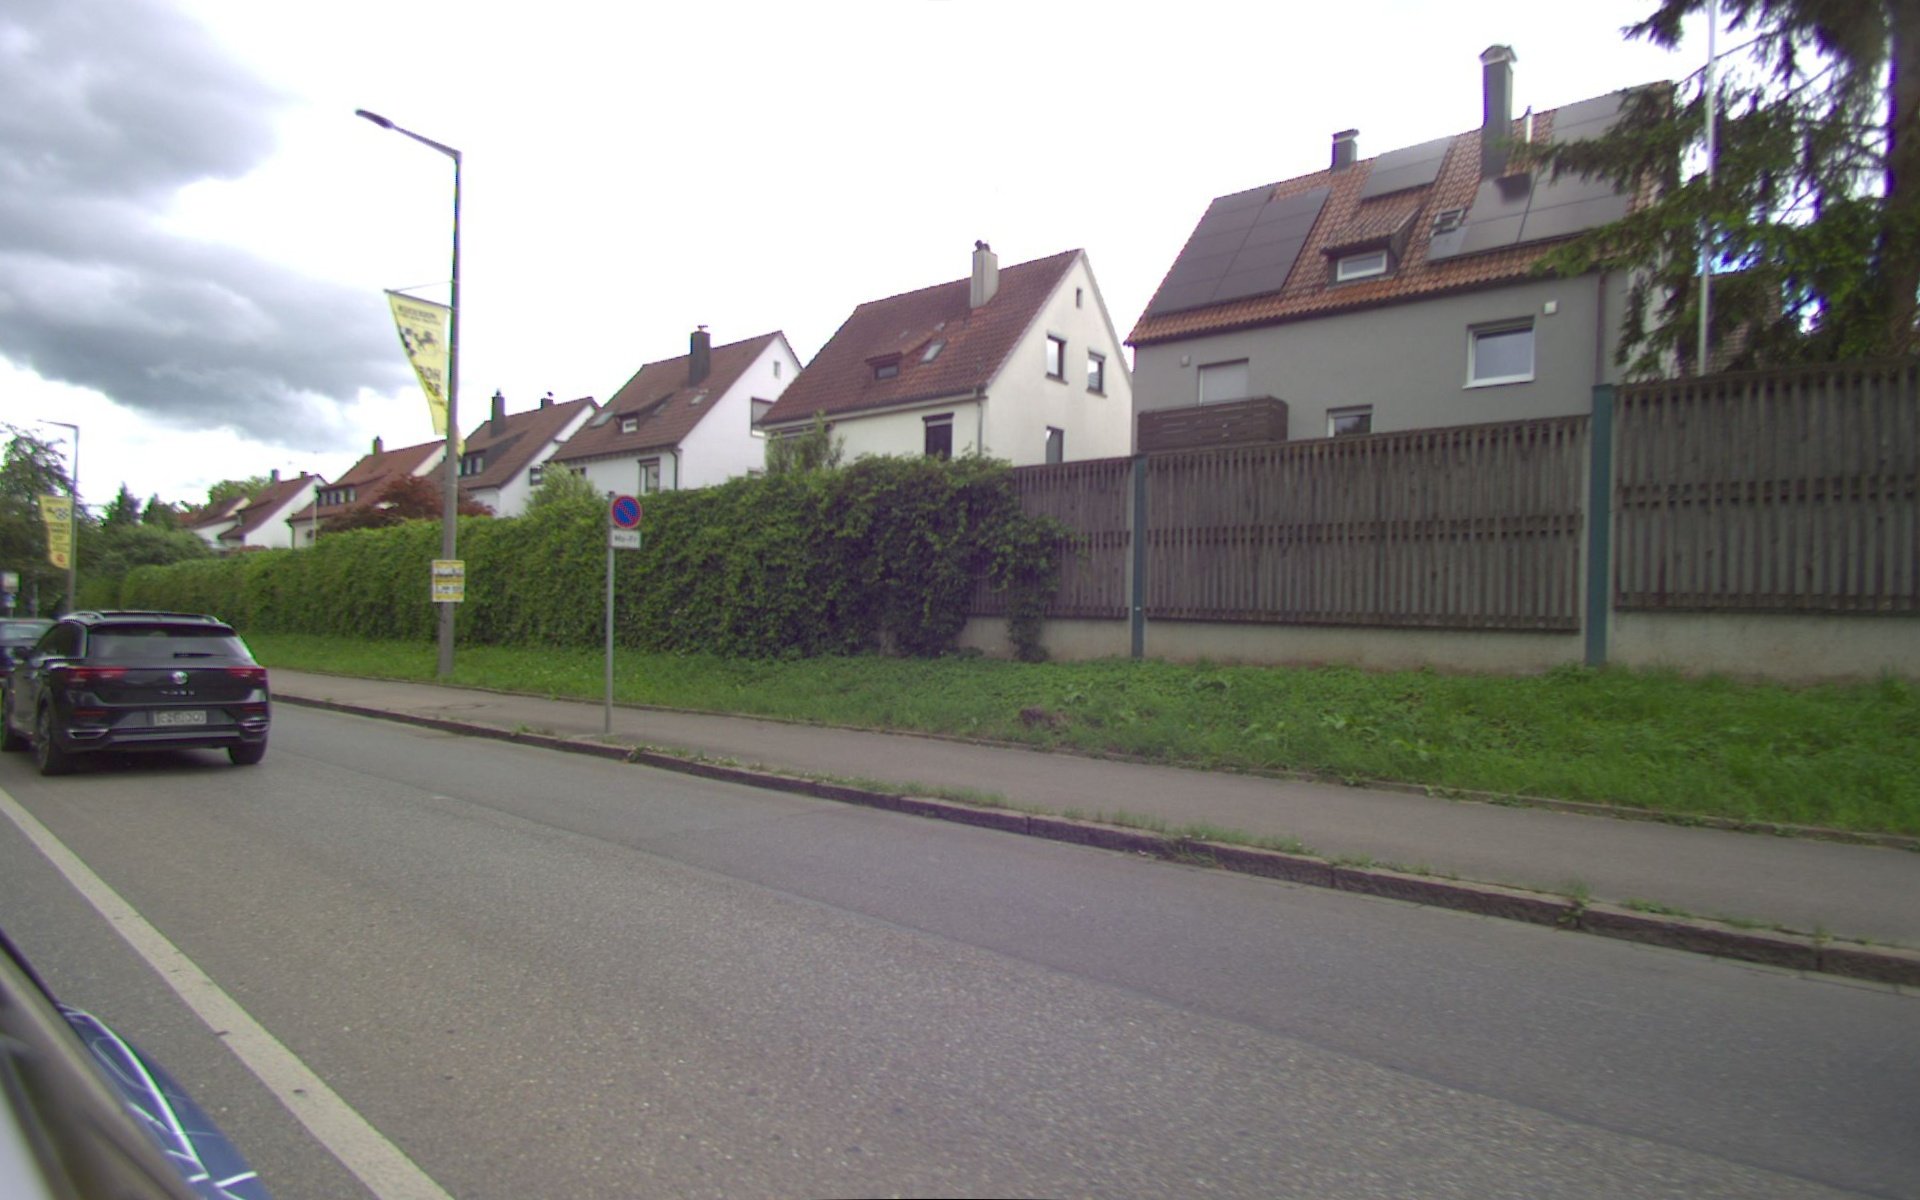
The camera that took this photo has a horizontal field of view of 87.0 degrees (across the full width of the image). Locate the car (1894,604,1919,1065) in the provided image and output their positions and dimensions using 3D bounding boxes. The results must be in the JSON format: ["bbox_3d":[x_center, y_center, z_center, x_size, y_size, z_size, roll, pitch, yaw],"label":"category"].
[{"bbox_3d":[4.803,0.746,1.632,4.696,1.536,1.794,-1,-3,39],"label":"car"}]

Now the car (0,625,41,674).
[{"bbox_3d":[-30.373,1.520,31.889,4.070,1.472,1.601,-1,-5,42],"label":"car"}]

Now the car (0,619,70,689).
[{"bbox_3d":[-21.882,1.199,23.139,4.103,1.492,1.626,-1,-3,40],"label":"car"}]

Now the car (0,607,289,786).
[{"bbox_3d":[-8.891,0.900,10.773,4.174,1.536,1.794,-1,-3,41],"label":"car"}]
